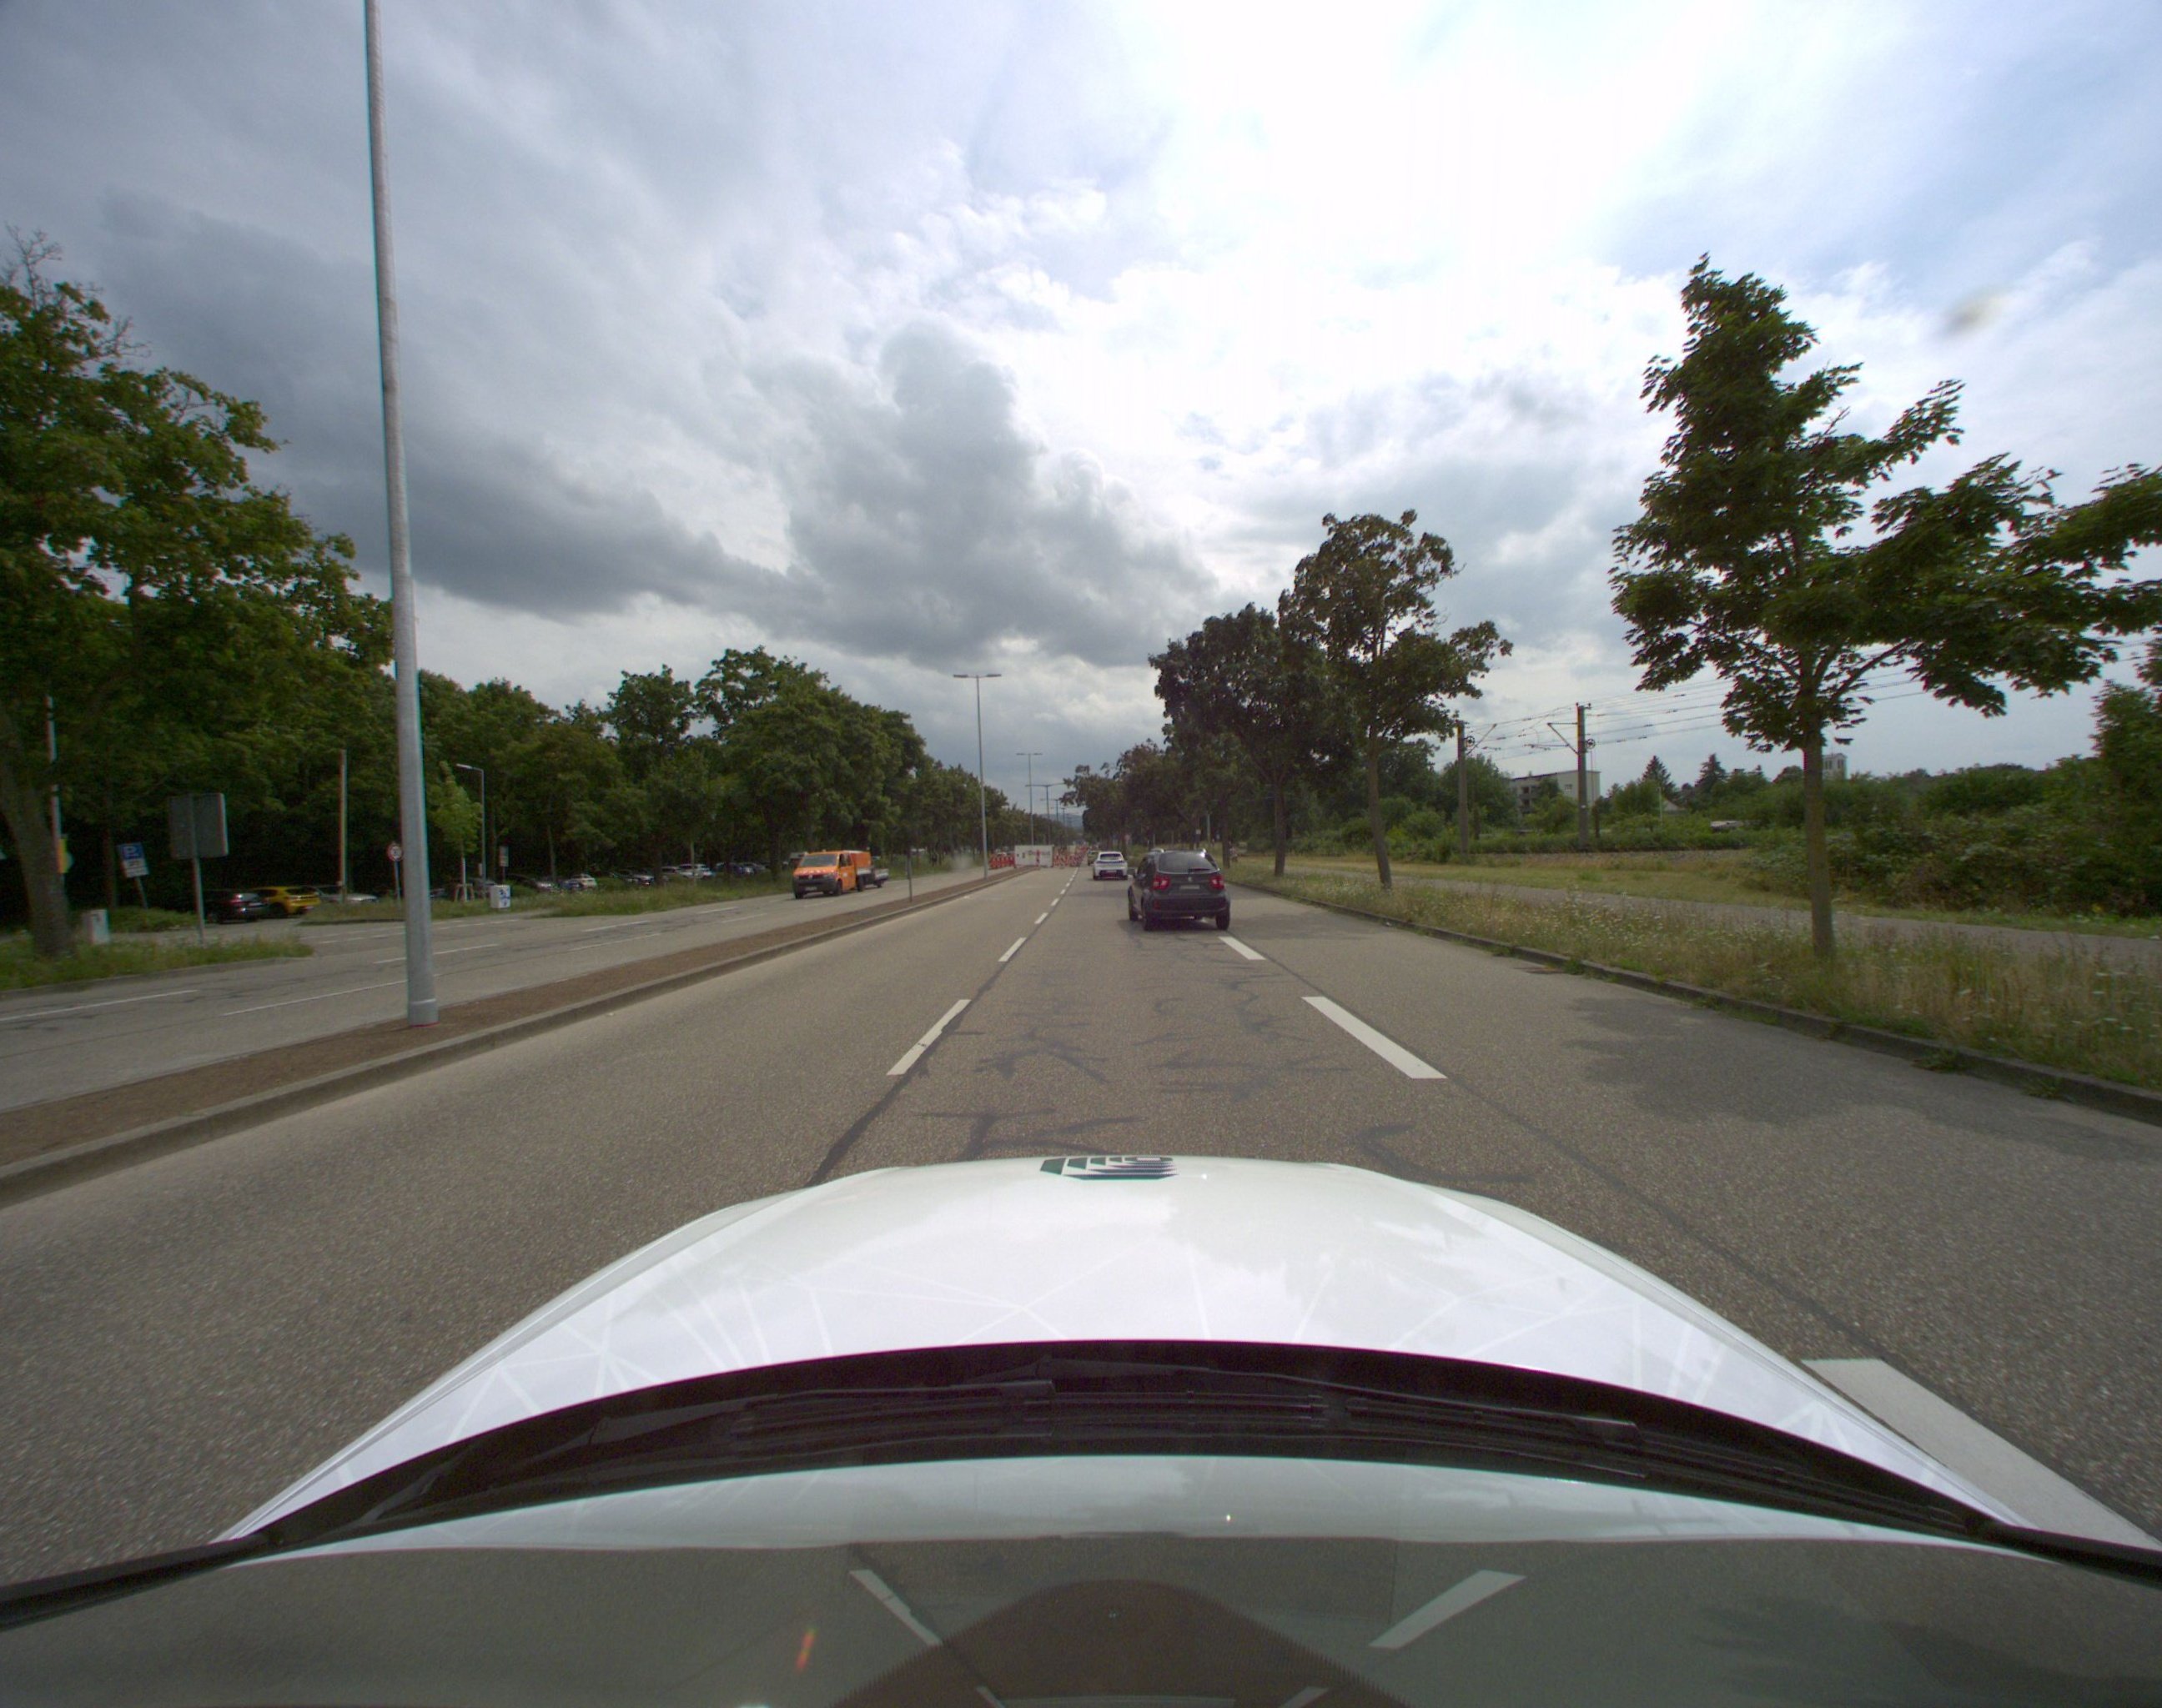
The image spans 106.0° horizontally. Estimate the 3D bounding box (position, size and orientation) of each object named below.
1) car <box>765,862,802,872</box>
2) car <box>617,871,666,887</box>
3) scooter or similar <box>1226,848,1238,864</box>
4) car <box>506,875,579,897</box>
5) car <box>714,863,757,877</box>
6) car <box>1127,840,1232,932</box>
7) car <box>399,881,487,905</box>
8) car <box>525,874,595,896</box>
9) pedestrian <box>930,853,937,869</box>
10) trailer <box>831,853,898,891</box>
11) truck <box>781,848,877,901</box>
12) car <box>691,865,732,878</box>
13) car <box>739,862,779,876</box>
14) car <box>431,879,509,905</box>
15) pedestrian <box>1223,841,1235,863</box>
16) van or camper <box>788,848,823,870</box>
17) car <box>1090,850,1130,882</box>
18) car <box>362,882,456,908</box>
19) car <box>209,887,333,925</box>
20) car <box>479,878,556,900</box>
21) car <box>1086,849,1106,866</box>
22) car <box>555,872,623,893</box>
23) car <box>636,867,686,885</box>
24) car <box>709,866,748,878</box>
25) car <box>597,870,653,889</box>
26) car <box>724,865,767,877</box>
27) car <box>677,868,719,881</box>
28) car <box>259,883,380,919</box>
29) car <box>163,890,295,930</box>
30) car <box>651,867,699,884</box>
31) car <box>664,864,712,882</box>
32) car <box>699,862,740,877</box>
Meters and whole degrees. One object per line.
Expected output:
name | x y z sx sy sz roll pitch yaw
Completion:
car | -38.046 1.681 104.211 3.973 1.161 1.927 -2 1 1
car | -37.712 2.168 69.910 3.280 1.206 1.519 -2 1 3
scooter or similar | 11.324 0.127 61.023 0.680 1.129 0.933 -2 1 -4
car | -38.027 2.255 57.555 3.970 1.360 1.669 -2 1 3
car | -37.111 1.717 87.487 3.716 1.409 2.001 -2 1 1
car | 1.946 0.576 17.130 1.698 1.668 3.999 -2 1 0
car | -38.081 2.313 48.673 3.972 1.259 1.564 -2 1 1
car | -38.321 2.263 59.915 3.970 1.360 1.824 -2 1 3
pedestrian | -16.803 0.802 92.843 0.693 1.838 0.647 -2 1 -21
trailer | -10.837 0.858 41.003 2.054 1.689 3.898 -3 0 3
truck | -11.020 0.795 36.155 2.080 1.994 6.042 -3 1 2
car | -36.925 1.765 81.413 3.353 1.128 1.442 -2 1 2
car | -37.113 1.749 93.881 3.757 1.425 1.968 -2 1 3
car | -37.773 2.316 50.374 3.634 1.411 1.519 -2 1 3
pedestrian | 11.254 -0.158 61.966 0.689 1.695 0.933 -2 1 -4
van or camper | -37.342 0.678 110.440 3.973 2.756 1.927 -2 1 1
car | 1.475 0.581 42.363 1.762 1.464 3.997 -2 1 -2
car | -37.108 2.251 45.044 3.694 1.257 1.786 -2 1 2
car | -37.536 2.392 37.805 3.971 1.498 1.786 -2 1 2
car | -37.566 2.328 54.365 3.969 1.238 1.669 -2 1 4
car | 1.530 0.369 81.429 1.786 1.562 4.003 -2 1 2
car | -37.687 2.189 62.442 3.967 1.410 2.004 -2 1 6
car | -37.479 1.948 72.744 3.634 1.411 1.519 -2 1 3
car | -36.899 1.900 85.291 3.353 1.094 1.442 -2 1 2
car | -37.785 2.126 67.578 3.630 1.360 1.710 -2 1 3
car | -37.111 1.849 90.167 3.973 1.161 1.927 -2 1 1
car | -37.601 1.982 79.973 3.353 1.112 1.442 -2 1 2
car | -37.262 2.295 39.912 4.163 1.498 1.887 -2 1 2
car | -37.481 2.443 35.900 3.971 1.498 1.786 -2 1 2
car | -37.454 1.963 75.187 3.634 1.411 1.519 -2 1 3
car | -37.526 1.796 77.842 3.634 1.519 1.884 -2 1 3
car | -37.195 1.566 83.809 3.535 1.411 1.323 -2 1 3
